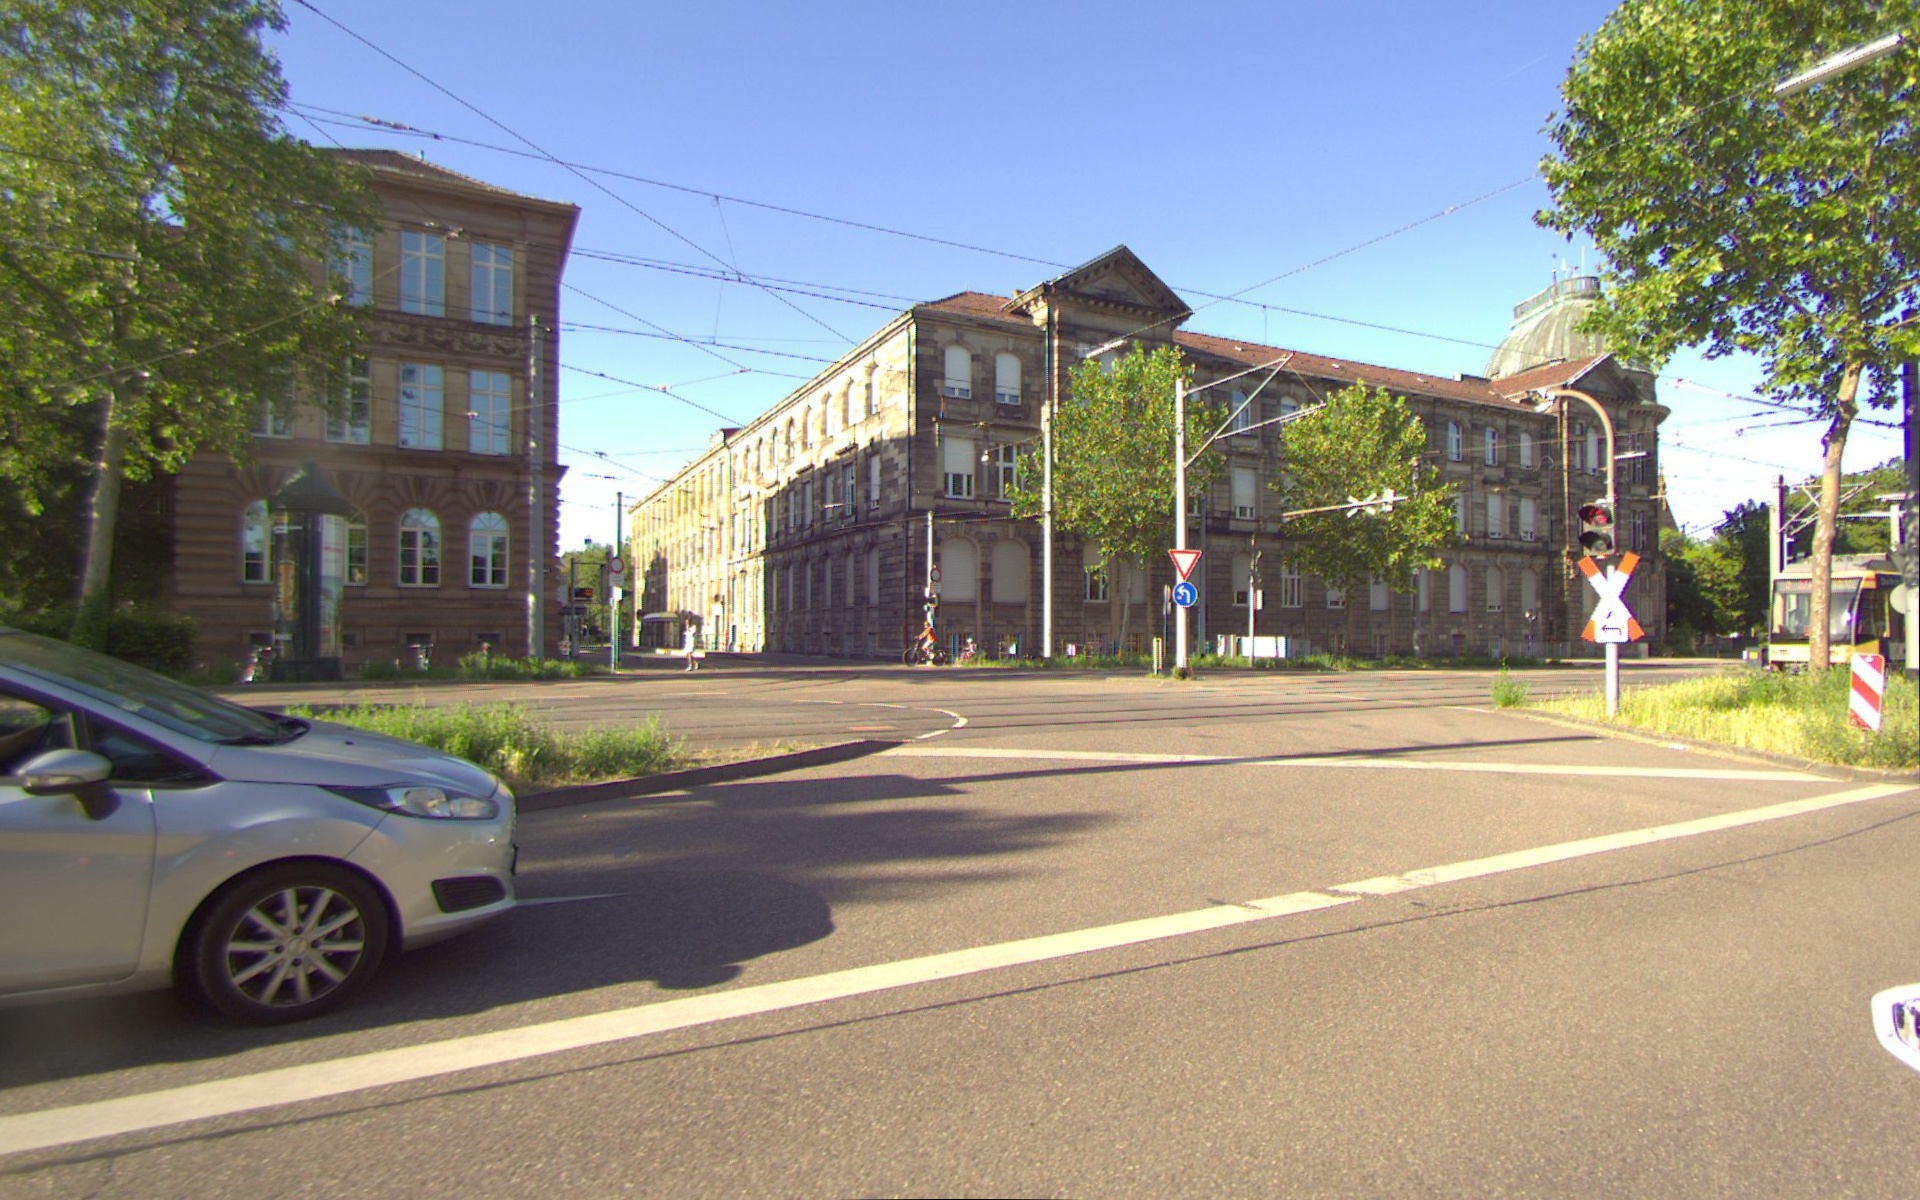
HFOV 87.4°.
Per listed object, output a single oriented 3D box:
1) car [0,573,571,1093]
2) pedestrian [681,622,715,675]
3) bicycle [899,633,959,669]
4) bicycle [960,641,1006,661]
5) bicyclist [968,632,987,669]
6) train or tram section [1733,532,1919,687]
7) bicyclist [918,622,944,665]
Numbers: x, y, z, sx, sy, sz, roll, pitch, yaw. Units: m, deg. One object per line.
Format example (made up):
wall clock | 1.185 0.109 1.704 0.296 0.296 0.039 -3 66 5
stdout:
car | -3.601 0.715 3.713 3.818 1.617 1.654 1 0 -30
pedestrian | -9.317 1.709 35.661 0.989 1.824 0.859 1 0 -26
bicycle | -1.210 2.021 39.916 2.316 1.408 0.524 1 0 -22
bicycle | 0.929 2.086 41.144 1.864 0.732 0.526 1 0 0
bicyclist | 0.698 2.063 41.175 0.716 1.481 0.797 1 0 -2
train or tram section | 27.973 0.386 29.828 14.107 3.863 2.914 1 0 -31
bicyclist | -1.142 1.721 39.925 0.857 1.645 0.673 1 -1 -19
